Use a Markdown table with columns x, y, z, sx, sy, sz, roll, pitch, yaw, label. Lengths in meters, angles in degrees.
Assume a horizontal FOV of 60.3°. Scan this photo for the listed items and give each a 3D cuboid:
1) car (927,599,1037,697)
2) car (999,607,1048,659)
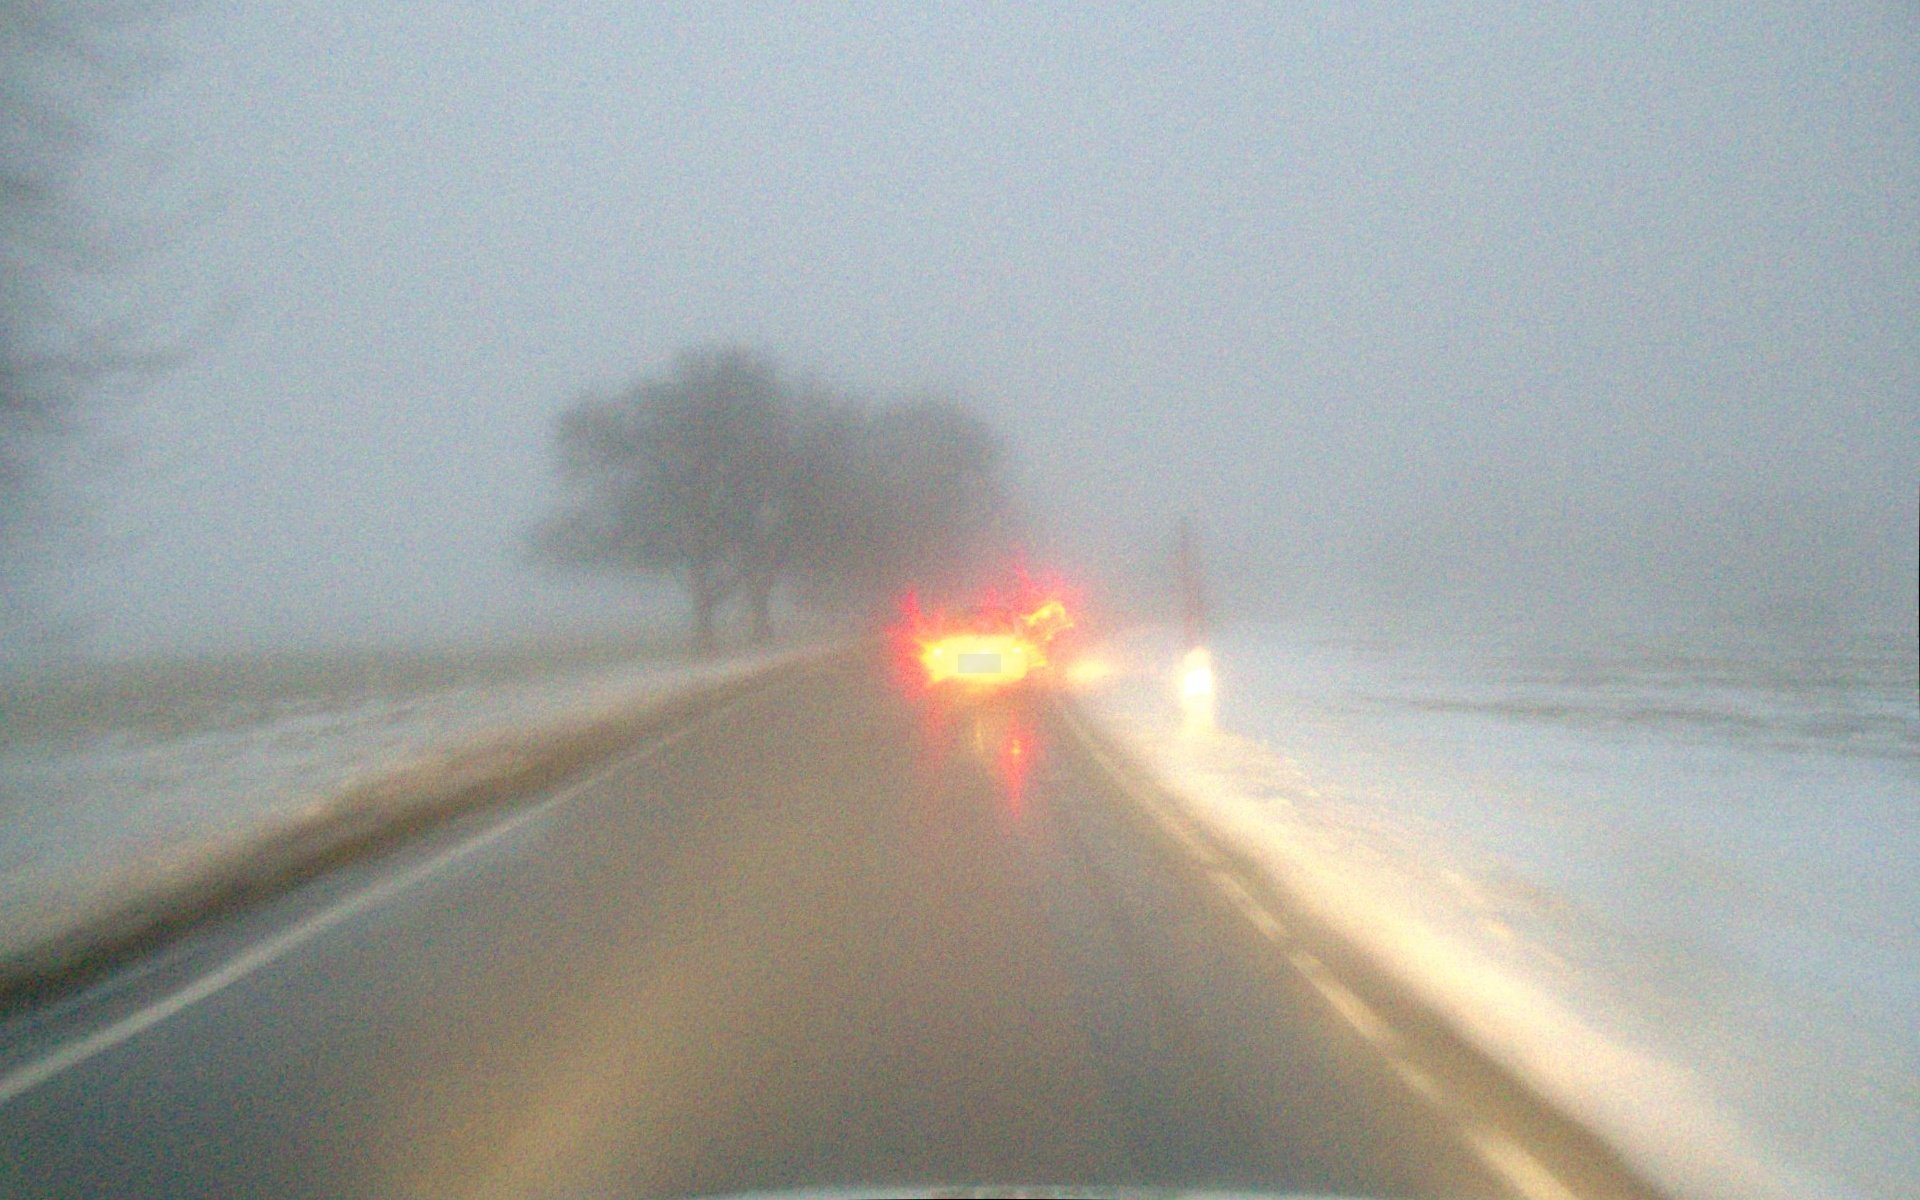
| x | y | z | sx | sy | sz | roll | pitch | yaw | label |
| --- | --- | --- | --- | --- | --- | --- | --- | --- | --- |
| 0.384 | 0.735 | 27.373 | 1.671 | 1.489 | 4.001 | 0 | 0 | 1 | car |
| 1.944 | 0.978 | 50.707 | 1.448 | 1.534 | 3.053 | -1 | 0 | 2 | car |
